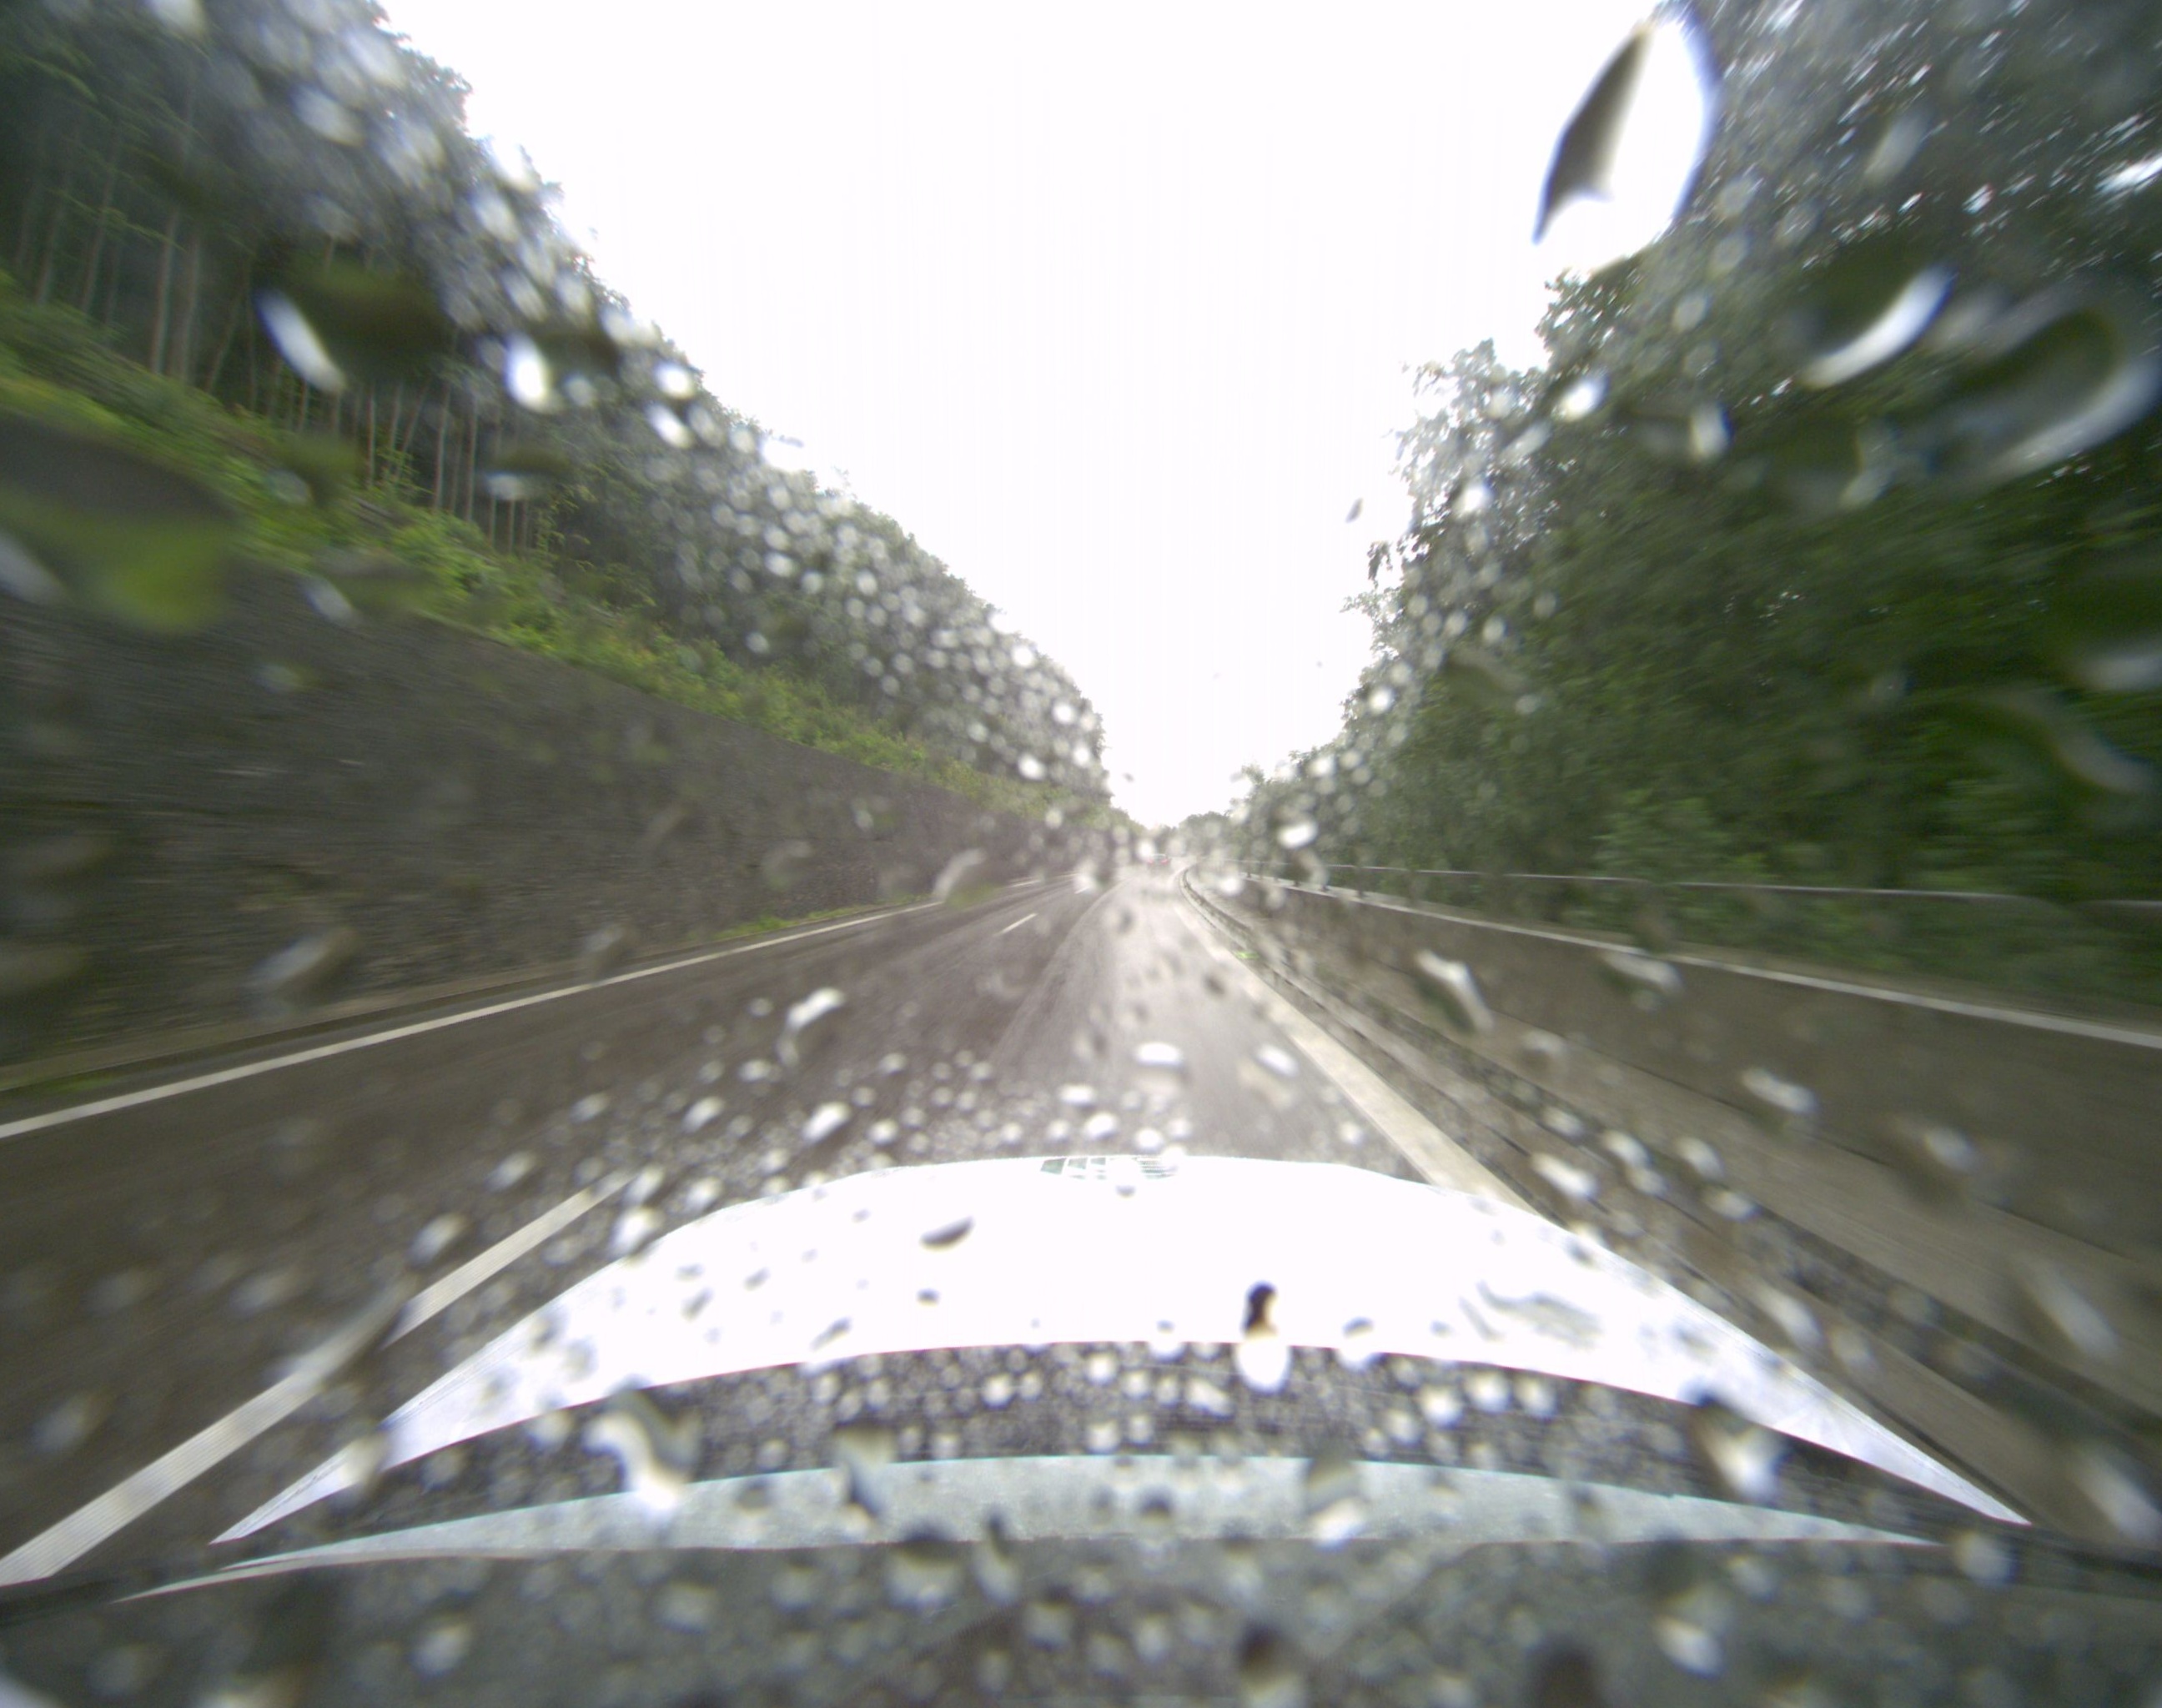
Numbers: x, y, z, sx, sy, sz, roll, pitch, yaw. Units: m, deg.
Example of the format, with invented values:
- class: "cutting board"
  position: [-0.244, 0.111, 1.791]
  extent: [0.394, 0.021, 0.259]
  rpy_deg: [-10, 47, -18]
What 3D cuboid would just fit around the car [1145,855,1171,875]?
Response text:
- class: "car"
  position: [6.404, 0.889, 67.518]
  extent: [1.893, 1.499, 4.008]
  rpy_deg: [-3, 0, 7]
